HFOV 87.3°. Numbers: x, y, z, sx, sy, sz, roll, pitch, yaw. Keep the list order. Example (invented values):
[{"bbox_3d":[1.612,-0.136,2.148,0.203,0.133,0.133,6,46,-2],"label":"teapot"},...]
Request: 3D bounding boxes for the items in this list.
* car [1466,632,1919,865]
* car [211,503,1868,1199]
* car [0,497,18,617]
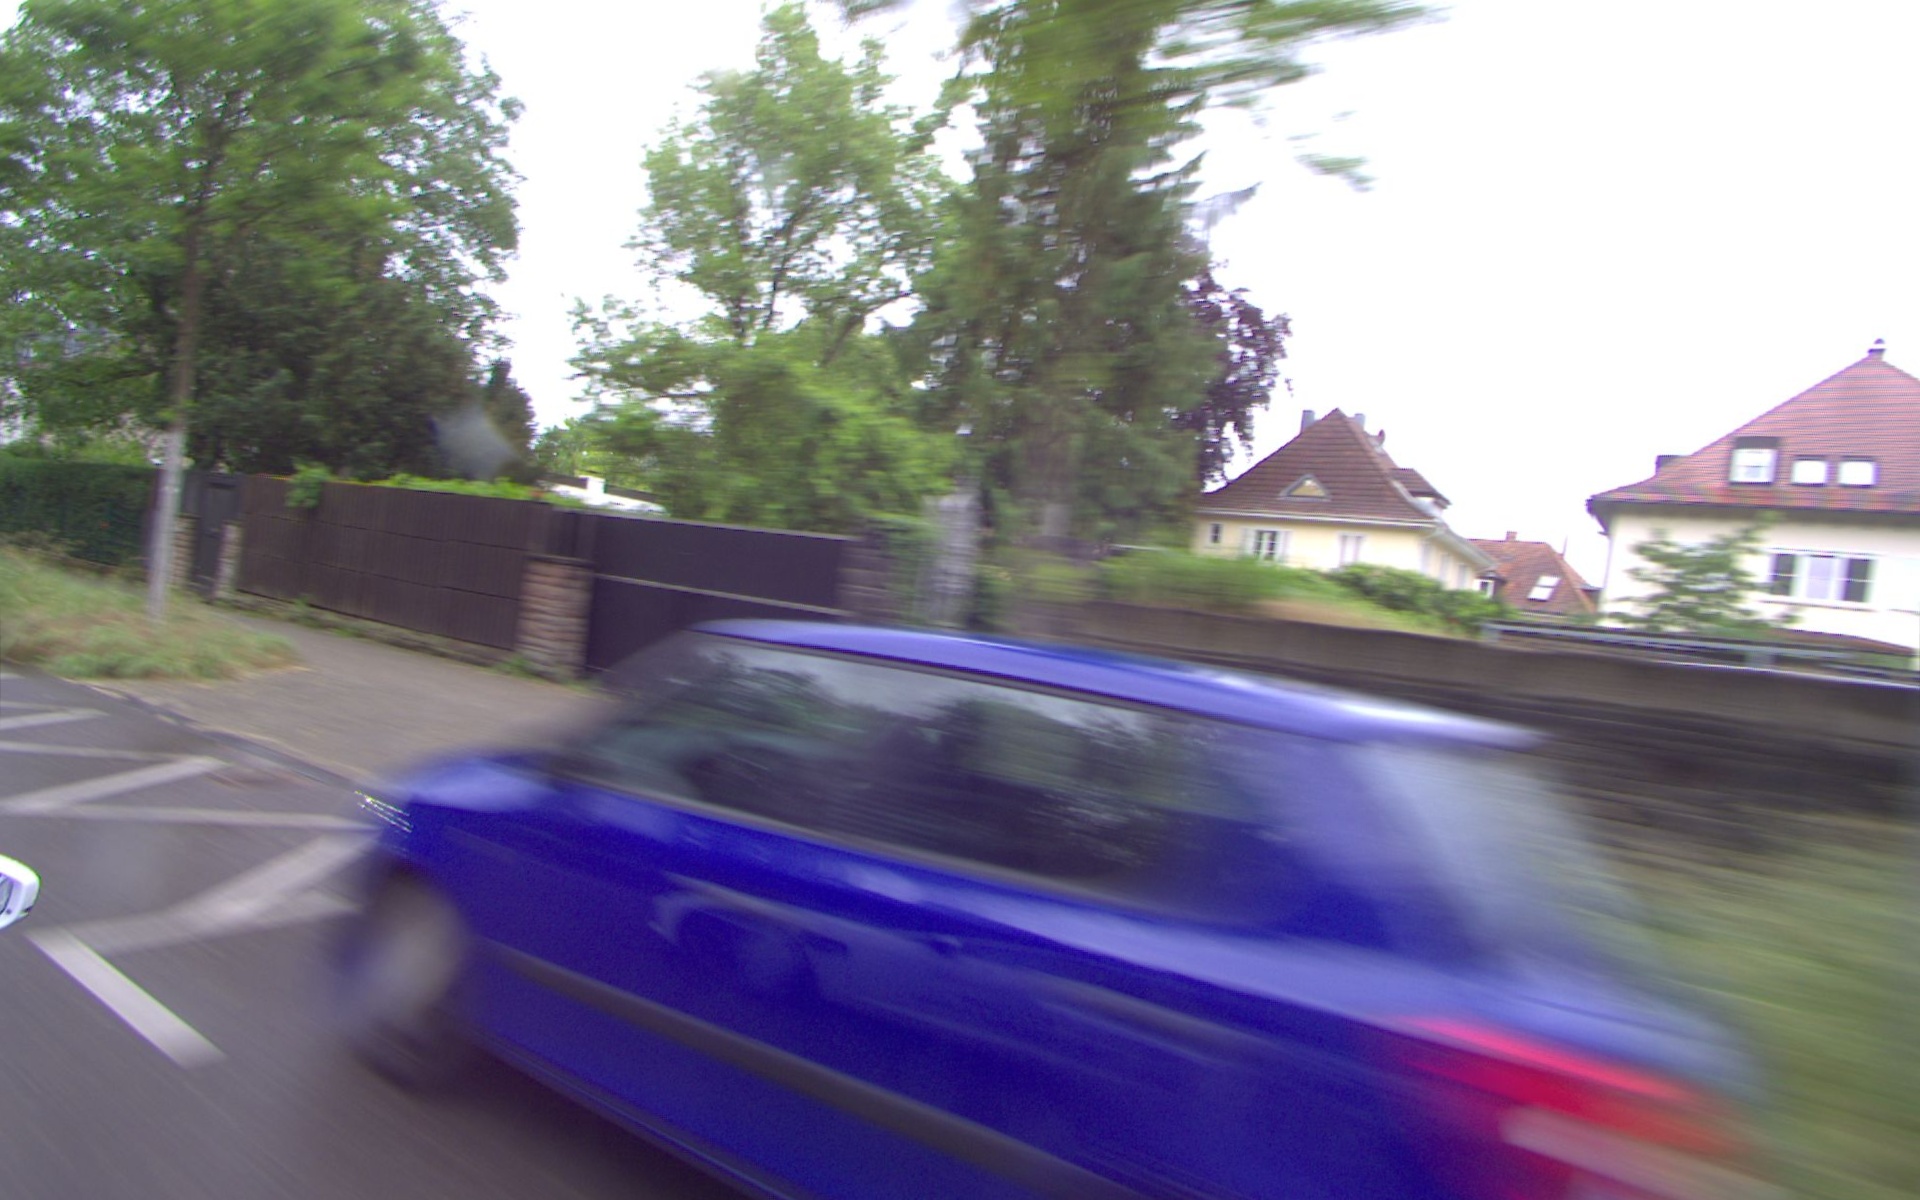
[{"bbox_3d":[8.389,1.574,11.670,4.185,1.832,1.832,7,-1,33],"label":"car"},{"bbox_3d":[-0.257,0.755,2.985,3.983,1.523,1.724,8,-1,33],"label":"car"},{"bbox_3d":[-11.079,-0.507,9.829,3.770,1.525,1.622,8,-1,31],"label":"car"}]
